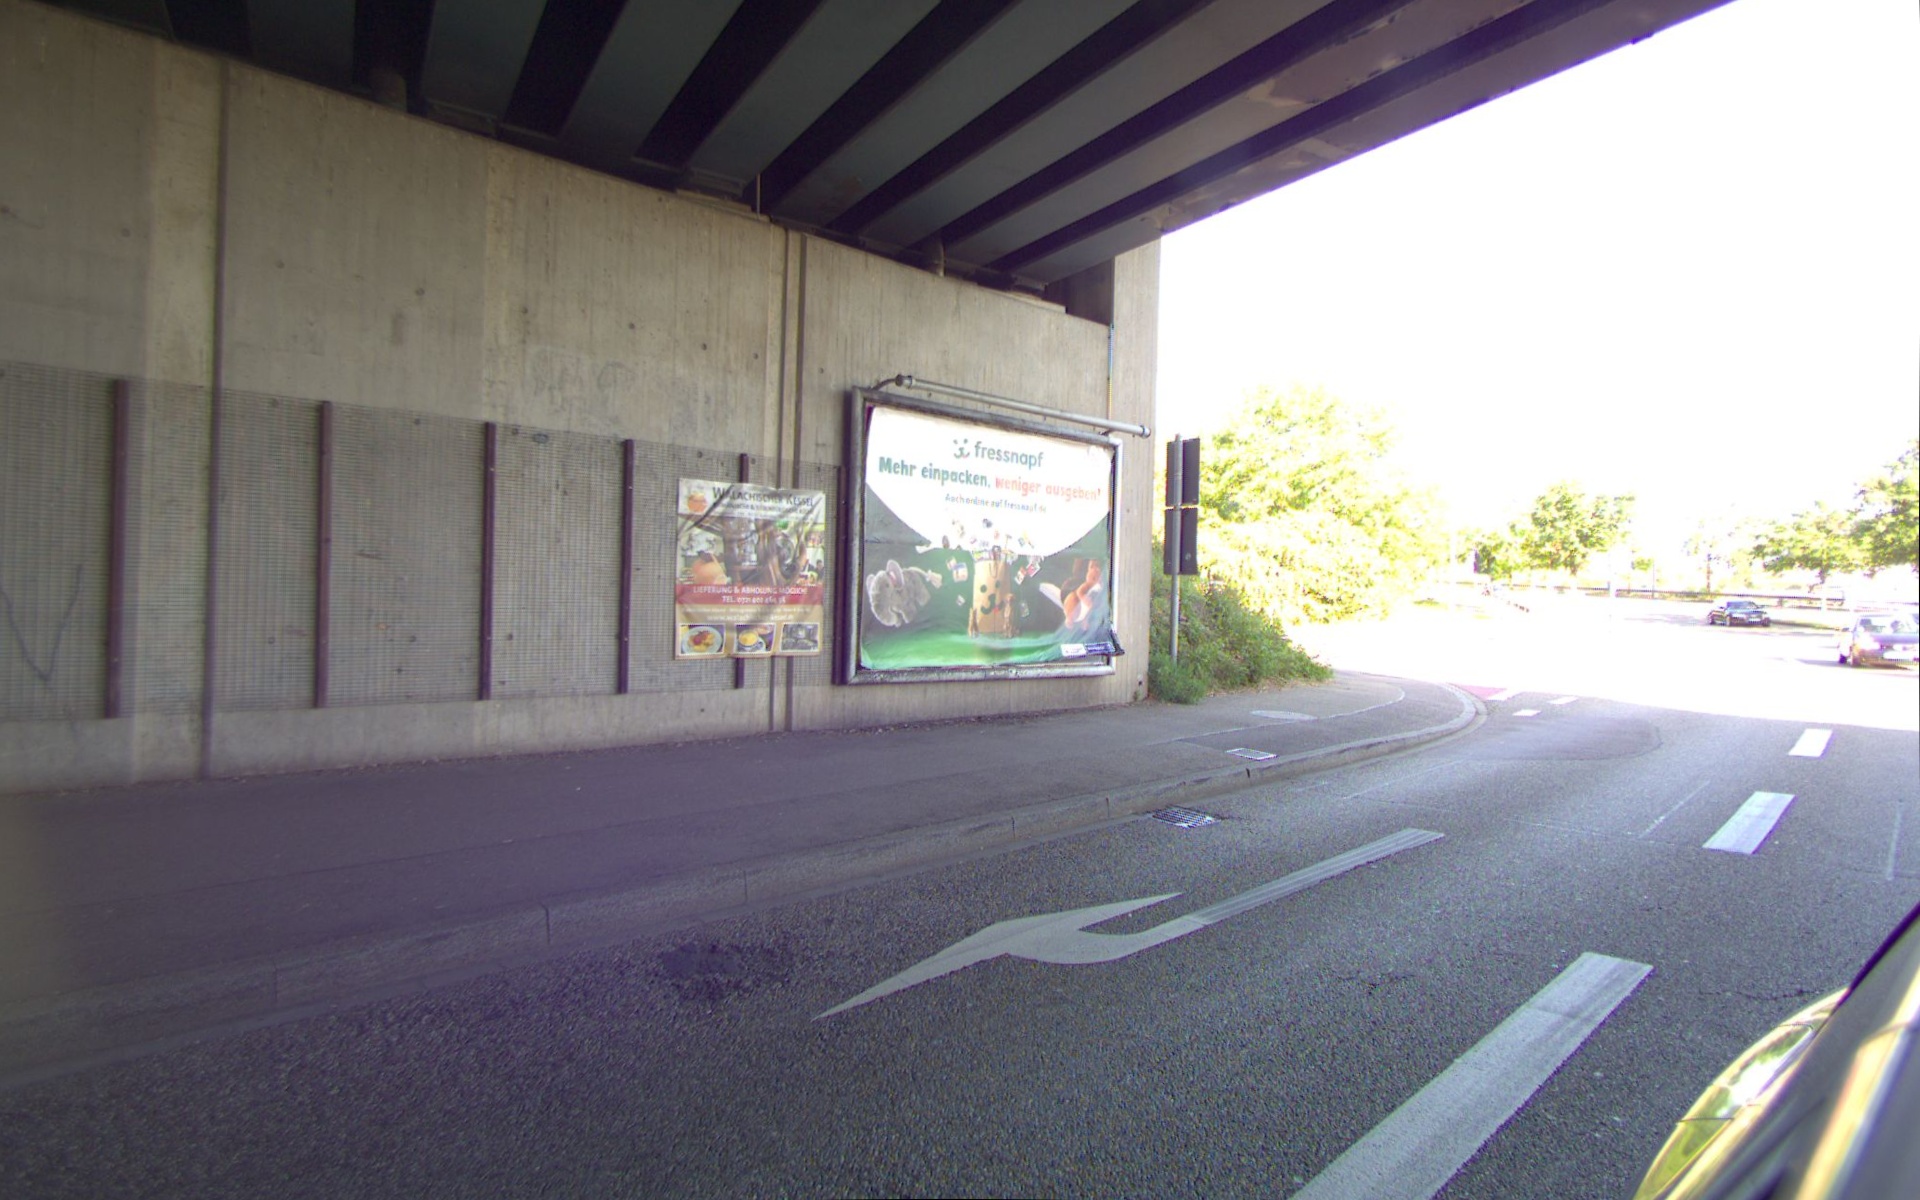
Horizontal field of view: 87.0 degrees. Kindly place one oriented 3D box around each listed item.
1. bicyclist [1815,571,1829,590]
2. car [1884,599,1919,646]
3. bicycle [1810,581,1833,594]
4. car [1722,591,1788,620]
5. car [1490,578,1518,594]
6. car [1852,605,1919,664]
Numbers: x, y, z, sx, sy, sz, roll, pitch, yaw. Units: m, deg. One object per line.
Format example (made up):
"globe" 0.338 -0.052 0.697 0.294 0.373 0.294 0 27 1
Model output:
"bicyclist" 66.964 -1.518 78.625 0.584 1.445 0.706 0 0 11
"car" 32.022 0.718 33.271 1.837 1.438 3.933 1 1 34
"bicycle" 67.011 -0.962 78.724 0.584 1.036 1.745 0 0 11
"car" 43.281 0.275 55.185 1.837 1.498 4.195 0 1 24
"car" 55.921 -1.451 104.088 1.825 1.501 3.958 2 0 18
"car" 25.170 0.868 27.086 1.730 1.438 4.258 1 0 39
